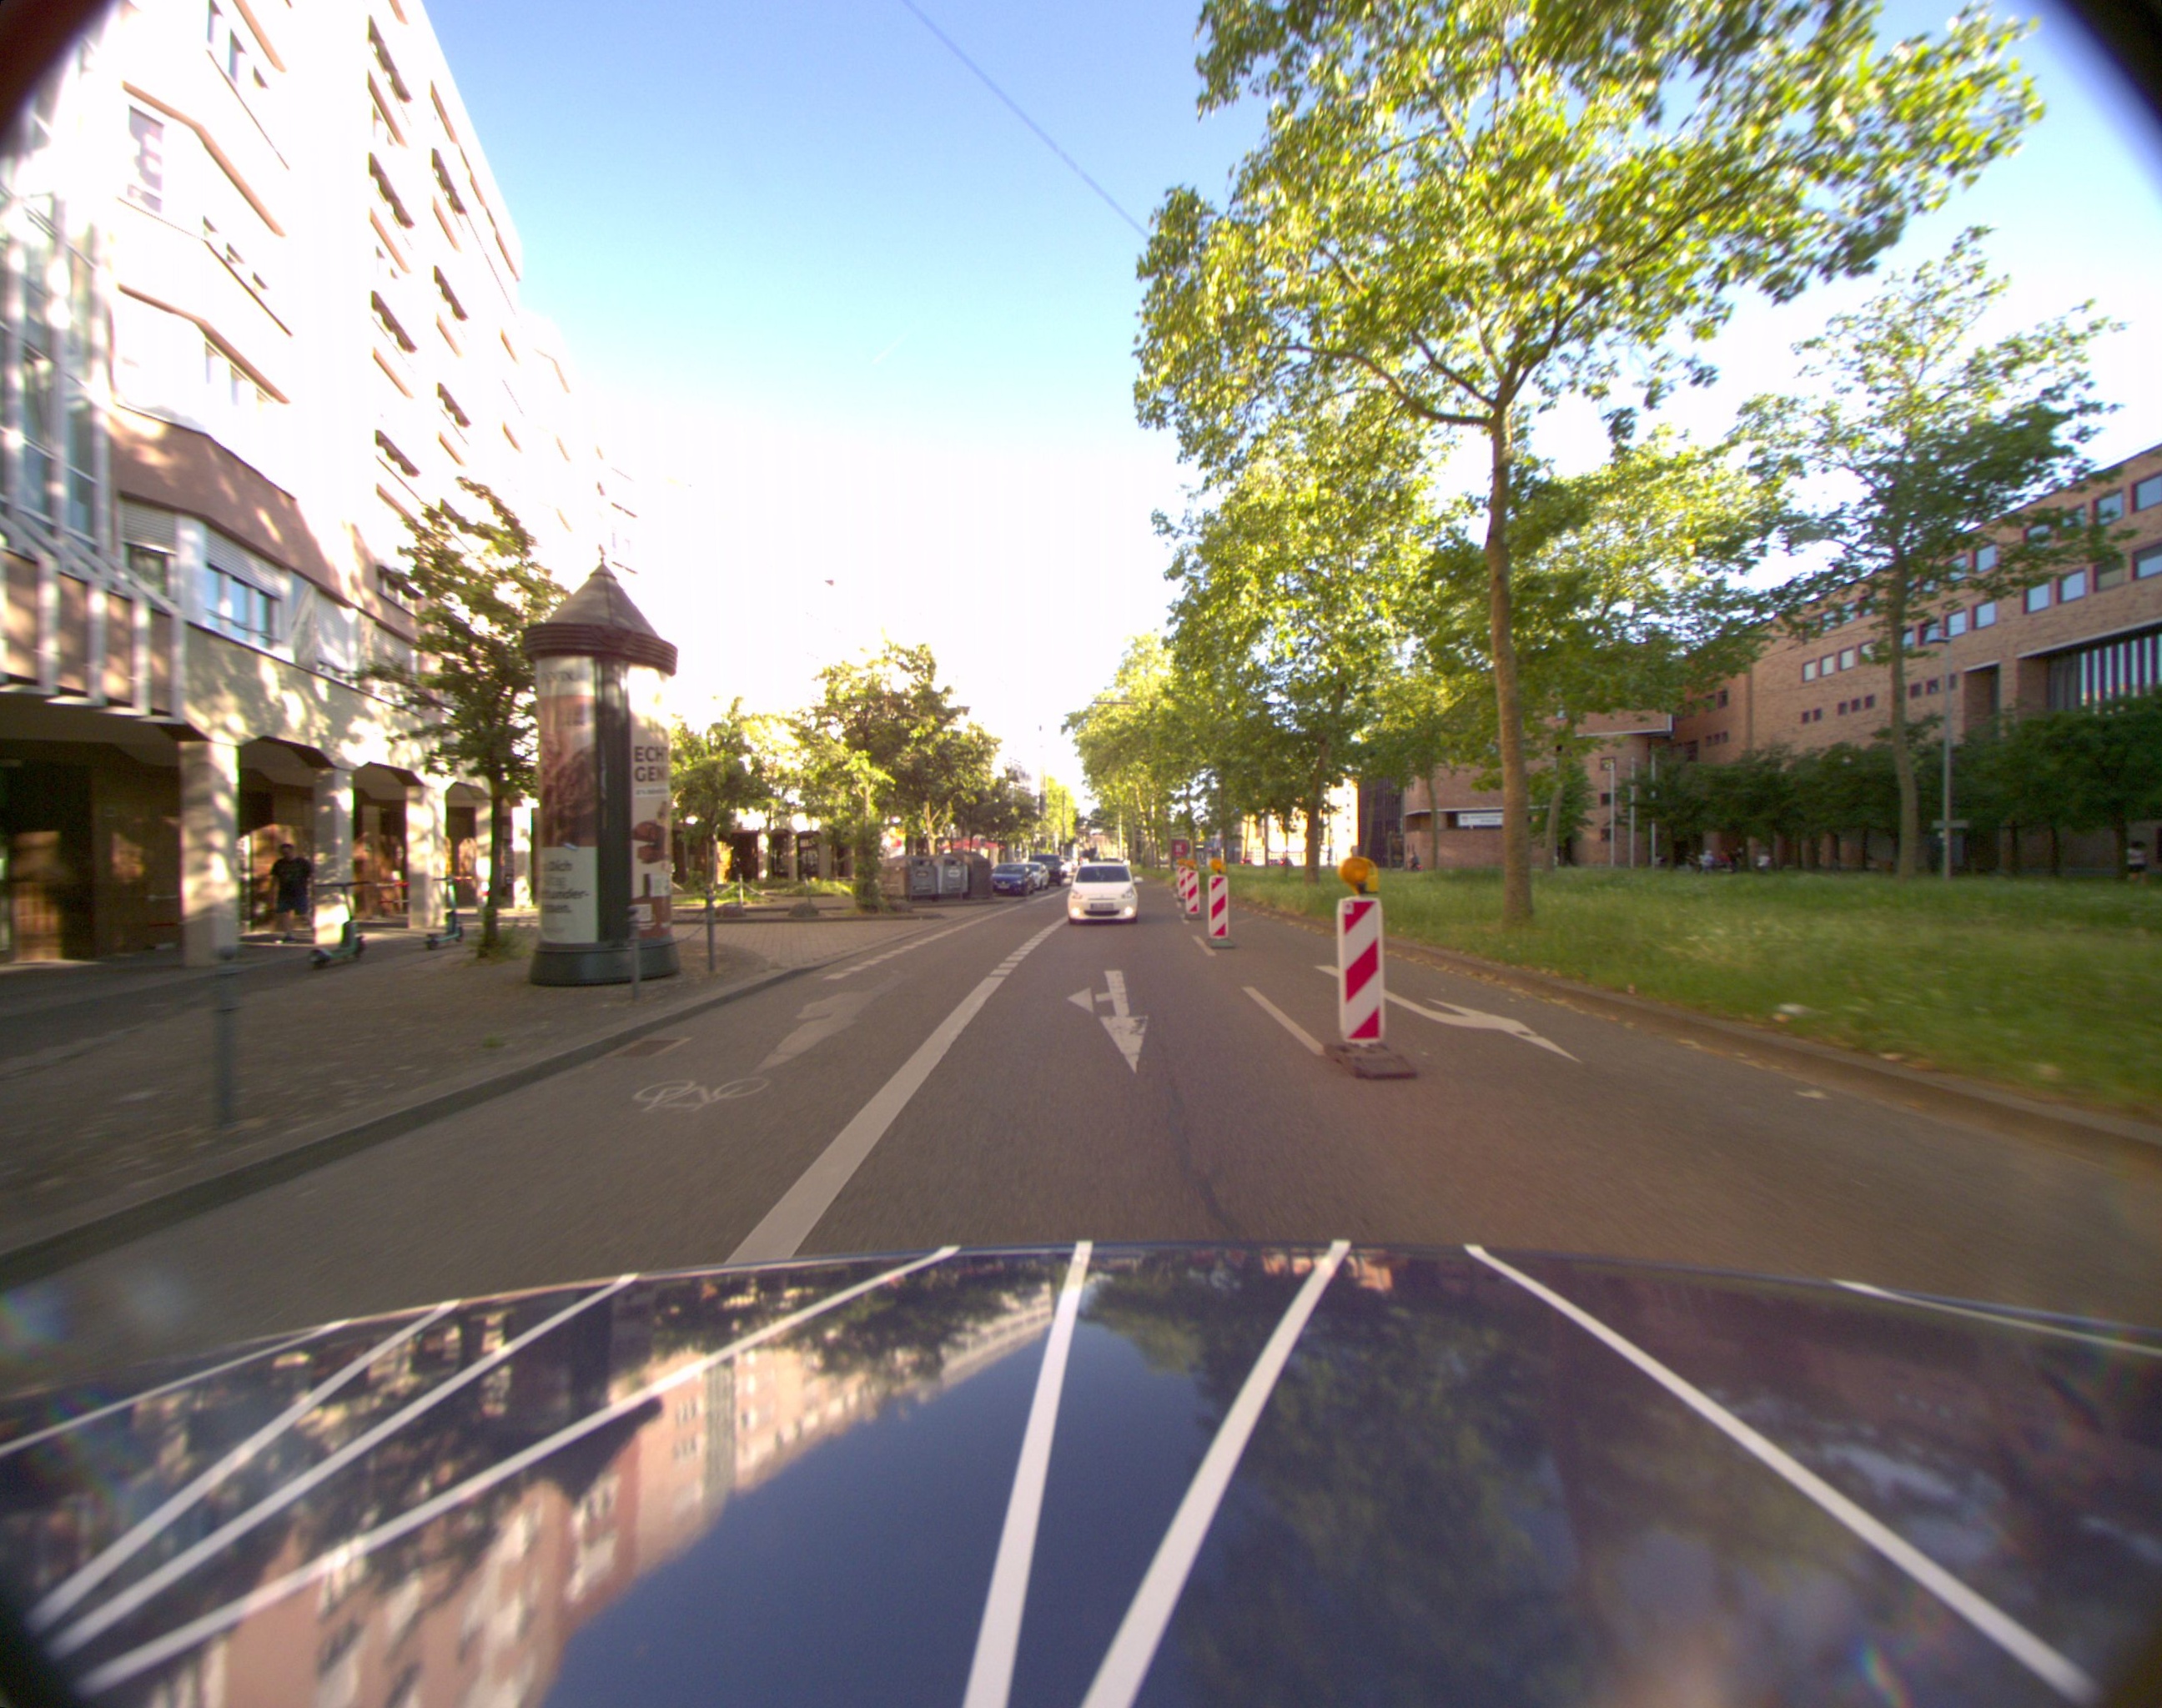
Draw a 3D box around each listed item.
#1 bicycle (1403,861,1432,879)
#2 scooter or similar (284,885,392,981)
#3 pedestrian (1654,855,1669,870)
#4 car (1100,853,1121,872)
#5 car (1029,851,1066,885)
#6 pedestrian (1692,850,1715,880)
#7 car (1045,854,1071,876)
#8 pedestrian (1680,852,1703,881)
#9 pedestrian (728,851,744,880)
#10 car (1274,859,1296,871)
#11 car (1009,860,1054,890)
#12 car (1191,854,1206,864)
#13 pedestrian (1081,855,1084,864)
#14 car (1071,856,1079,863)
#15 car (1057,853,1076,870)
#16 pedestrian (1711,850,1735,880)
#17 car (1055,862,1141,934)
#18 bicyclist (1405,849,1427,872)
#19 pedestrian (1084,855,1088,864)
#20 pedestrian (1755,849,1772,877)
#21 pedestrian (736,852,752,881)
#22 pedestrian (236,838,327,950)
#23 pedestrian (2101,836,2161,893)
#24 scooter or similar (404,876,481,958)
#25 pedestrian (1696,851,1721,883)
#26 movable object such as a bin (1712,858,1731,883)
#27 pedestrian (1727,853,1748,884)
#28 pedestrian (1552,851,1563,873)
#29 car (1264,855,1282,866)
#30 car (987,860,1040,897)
[{"bbox_3d":[22.920,1.087,51.790,0.959,1.119,2.436,0,1,2],"label":"bicycle"},{"bbox_3d":[-10.523,1.080,10.821,0.486,1.209,1.448,-1,0,-18],"label":"scooter or similar"},{"bbox_3d":[46.154,0.668,60.400,0.666,1.191,0.630,-1,0,-8],"label":"pedestrian"},{"bbox_3d":[2.642,0.763,67.956,1.824,1.630,4.000,-1,0,2],"label":"car"},{"bbox_3d":[-1.981,0.837,46.684,2.043,1.932,5.197,1,0,0],"label":"car"},{"bbox_3d":[34.789,0.611,42.449,0.665,1.607,0.757,0,0,3],"label":"pedestrian"},{"bbox_3d":[-1.919,0.895,64.576,1.802,1.714,4.461,1,0,2],"label":"car"},{"bbox_3d":[34.099,0.671,42.465,0.665,1.607,0.756,-1,0,0],"label":"pedestrian"},{"bbox_3d":[-21.854,0.715,48.179,0.622,1.859,0.709,-1,1,4],"label":"pedestrian"},{"bbox_3d":[25.466,1.387,94.865,1.675,1.420,4.150,0,0,0],"label":"car"},{"bbox_3d":[-2.533,1.067,39.755,1.705,1.457,4.177,1,0,5],"label":"car"},{"bbox_3d":[16.828,0.719,109.001,1.617,1.420,4.150,-1,0,0],"label":"car"},{"bbox_3d":[0.336,1.160,170.633,0.614,2.002,0.530,0,0,0],"label":"pedestrian"},{"bbox_3d":[-1.337,1.270,172.400,1.865,1.724,4.019,0,0,0],"label":"car"},{"bbox_3d":[-1.635,0.808,88.334,1.922,1.893,4.861,1,0,1],"label":"car"},{"bbox_3d":[34.632,0.576,41.019,0.665,1.607,0.756,-1,0,0],"label":"pedestrian"},{"bbox_3d":[0.545,0.973,18.619,1.720,1.442,4.426,-3,0,5],"label":"car"},{"bbox_3d":[22.904,0.432,51.950,0.943,1.562,1.209,0,0,2],"label":"bicyclist"},{"bbox_3d":[1.172,1.221,166.279,0.645,2.002,0.657,0,0,45],"label":"pedestrian"},{"bbox_3d":[36.042,0.478,40.123,0.484,1.496,0.463,-1,0,-1],"label":"pedestrian"},{"bbox_3d":[-21.041,0.775,47.464,0.779,1.795,0.724,-1,1,-32],"label":"pedestrian"},{"bbox_3d":[-14.662,0.712,13.964,0.819,1.970,0.847,-1,1,-18],"label":"pedestrian"},{"bbox_3d":[34.189,0.345,24.700,0.826,1.820,0.901,-1,0,2],"label":"pedestrian"},{"bbox_3d":[-10.897,1.037,13.021,0.486,1.266,1.448,-1,0,-18],"label":"scooter or similar"},{"bbox_3d":[33.767,0.685,40.881,0.665,1.712,0.797,-1,0,0],"label":"pedestrian"},{"bbox_3d":[33.788,0.865,40.093,0.356,1.271,0.756,-1,0,1],"label":"movable object such as a bin"},{"bbox_3d":[35.225,0.766,40.794,0.612,1.670,0.596,-1,0,0],"label":"pedestrian"},{"bbox_3d":[34.733,0.577,55.352,0.417,1.534,0.653,0,0,6],"label":"pedestrian"},{"bbox_3d":[25.547,0.892,101.065,1.617,1.420,3.221,0,0,0],"label":"car"},{"bbox_3d":[-2.937,1.049,33.872,1.706,1.475,4.250,1,0,4],"label":"car"}]
